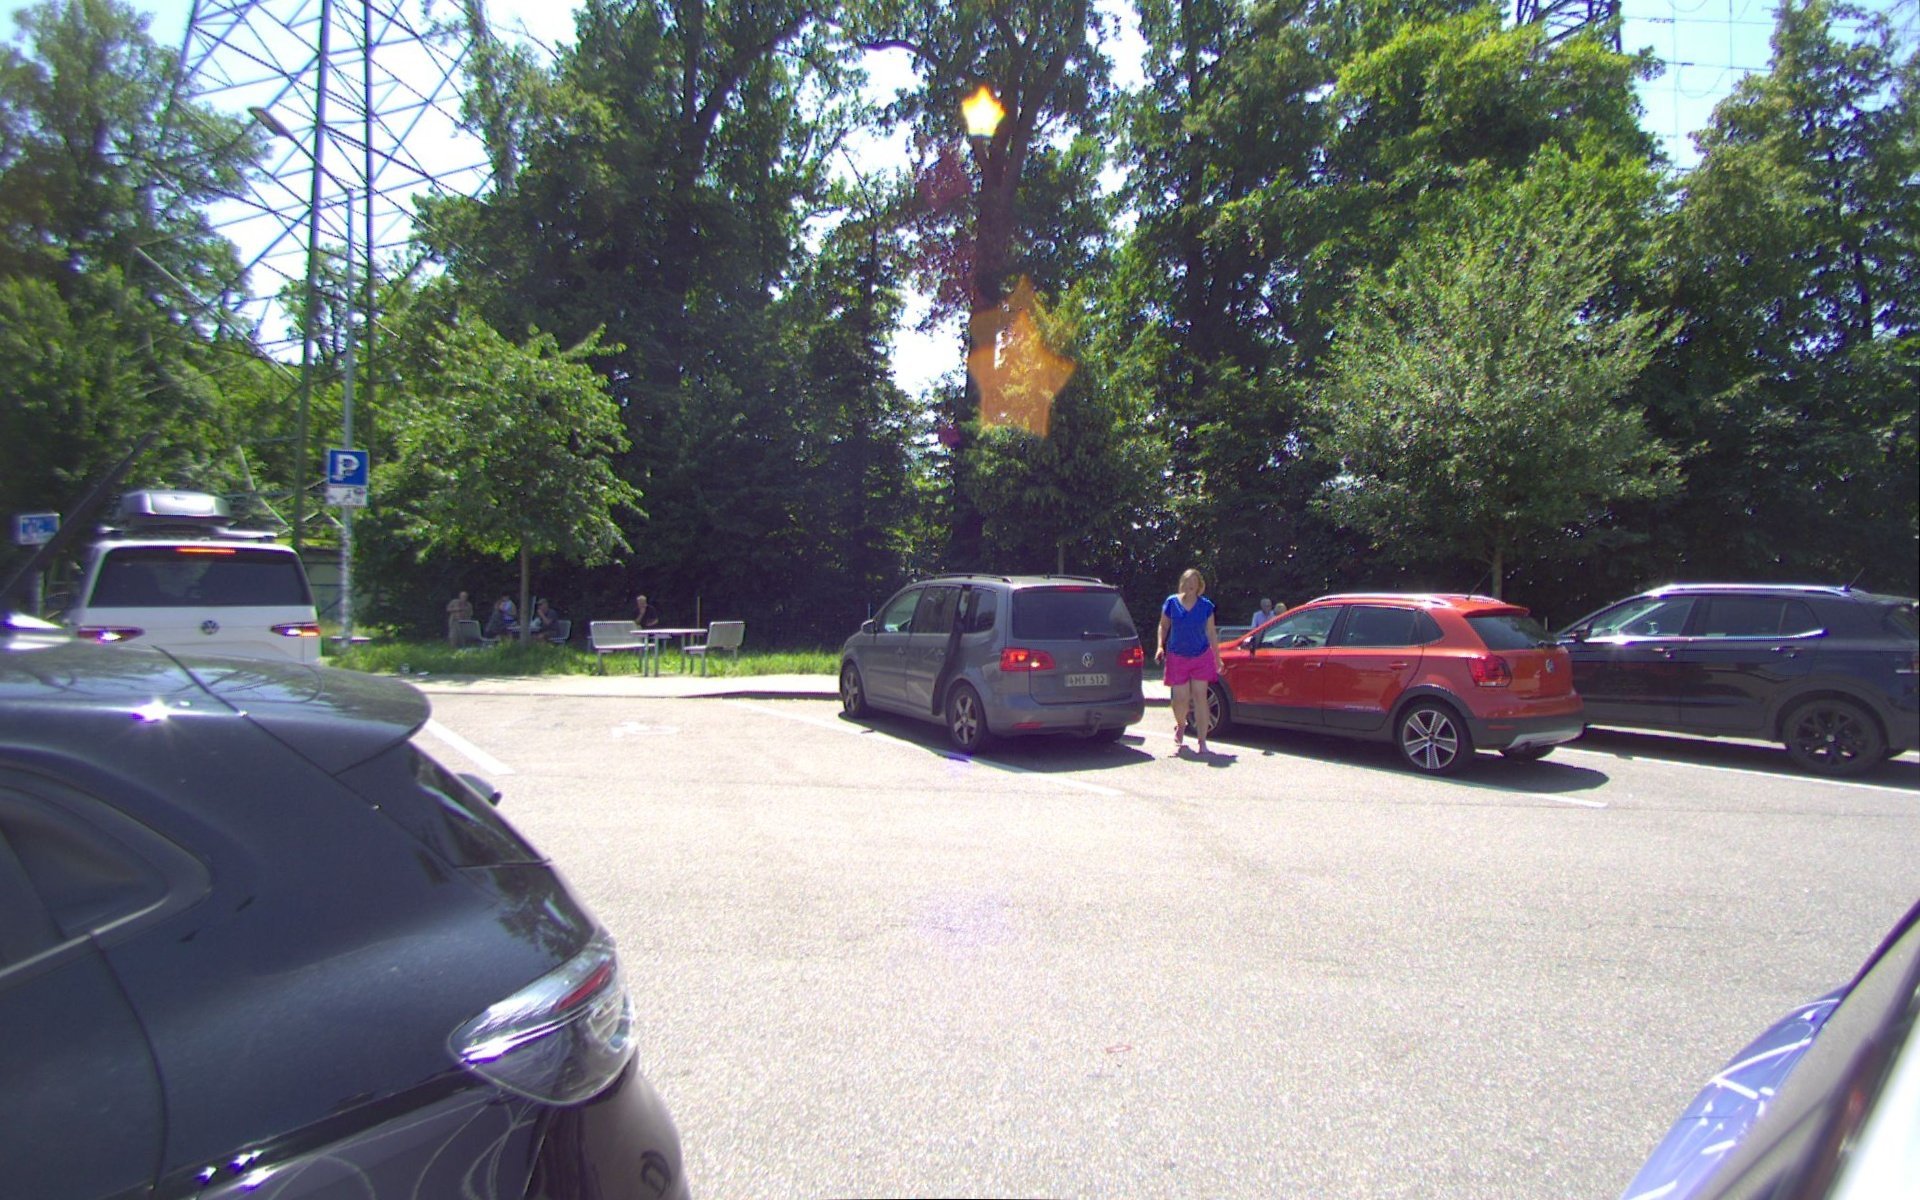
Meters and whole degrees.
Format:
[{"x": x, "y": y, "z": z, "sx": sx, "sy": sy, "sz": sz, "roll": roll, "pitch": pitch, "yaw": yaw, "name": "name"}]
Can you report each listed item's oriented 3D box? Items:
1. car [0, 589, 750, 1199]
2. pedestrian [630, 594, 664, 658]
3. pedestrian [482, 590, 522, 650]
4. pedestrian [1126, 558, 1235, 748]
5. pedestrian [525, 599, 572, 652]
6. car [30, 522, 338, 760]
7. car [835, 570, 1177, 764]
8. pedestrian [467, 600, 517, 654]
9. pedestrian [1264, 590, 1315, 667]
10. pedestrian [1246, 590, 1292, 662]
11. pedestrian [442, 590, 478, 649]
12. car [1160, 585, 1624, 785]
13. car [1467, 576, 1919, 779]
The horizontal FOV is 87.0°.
[{"x": -2.206, "y": 0.721, "z": 0.597, "sx": 1.737, "sy": 1.501, "sz": 3.757, "roll": 0, "pitch": 0, "yaw": 44, "name": "car"}, {"x": -6.570, "y": 0.524, "z": 21.272, "sx": 0.655, "sy": 1.311, "sz": 0.786, "roll": 0, "pitch": 0, "yaw": -16, "name": "pedestrian"}, {"x": -11.068, "y": 0.462, "z": 24.461, "sx": 0.664, "sy": 1.422, "sz": 0.643, "roll": 0, "pitch": 0, "yaw": 32, "name": "pedestrian"}, {"x": 2.091, "y": 0.473, "z": 9.564, "sx": 0.908, "sy": 1.703, "sz": 0.729, "roll": 0, "pitch": 0, "yaw": 21, "name": "pedestrian"}, {"x": -9.605, "y": 0.579, "z": 23.623, "sx": 0.873, "sy": 1.192, "sz": 0.668, "roll": 0, "pitch": 0, "yaw": -41, "name": "pedestrian"}, {"x": -8.178, "y": 0.292, "z": 10.485, "sx": 4.549, "sy": 1.936, "sz": 1.882, "roll": 1, "pitch": 1, "yaw": 44, "name": "car"}, {"x": 0.250, "y": 0.518, "z": 10.516, "sx": 1.713, "sy": 1.601, "sz": 3.996, "roll": 0, "pitch": 1, "yaw": -29, "name": "car"}, {"x": -10.521, "y": 0.591, "z": 22.768, "sx": 0.873, "sy": 1.192, "sz": 0.668, "roll": 0, "pitch": 0, "yaw": -41, "name": "pedestrian"}, {"x": 5.777, "y": 0.489, "z": 17.761, "sx": 0.657, "sy": 1.311, "sz": 0.783, "roll": 0, "pitch": 0, "yaw": 3, "name": "pedestrian"}, {"x": 5.782, "y": 0.478, "z": 18.968, "sx": 0.657, "sy": 1.311, "sz": 0.783, "roll": 0, "pitch": 0, "yaw": 3, "name": "pedestrian"}, {"x": -12.284, "y": 0.467, "z": 24.851, "sx": 0.657, "sy": 1.422, "sz": 0.649, "roll": 0, "pitch": 0, "yaw": -39, "name": "pedestrian"}, {"x": 3.850, "y": 0.611, "z": 9.646, "sx": 1.687, "sy": 1.484, "sz": 3.793, "roll": 0, "pitch": 1, "yaw": -32, "name": "car"}, {"x": 7.177, "y": 0.575, "z": 9.706, "sx": 1.690, "sy": 1.593, "sz": 3.787, "roll": 0, "pitch": 1, "yaw": -39, "name": "car"}]
